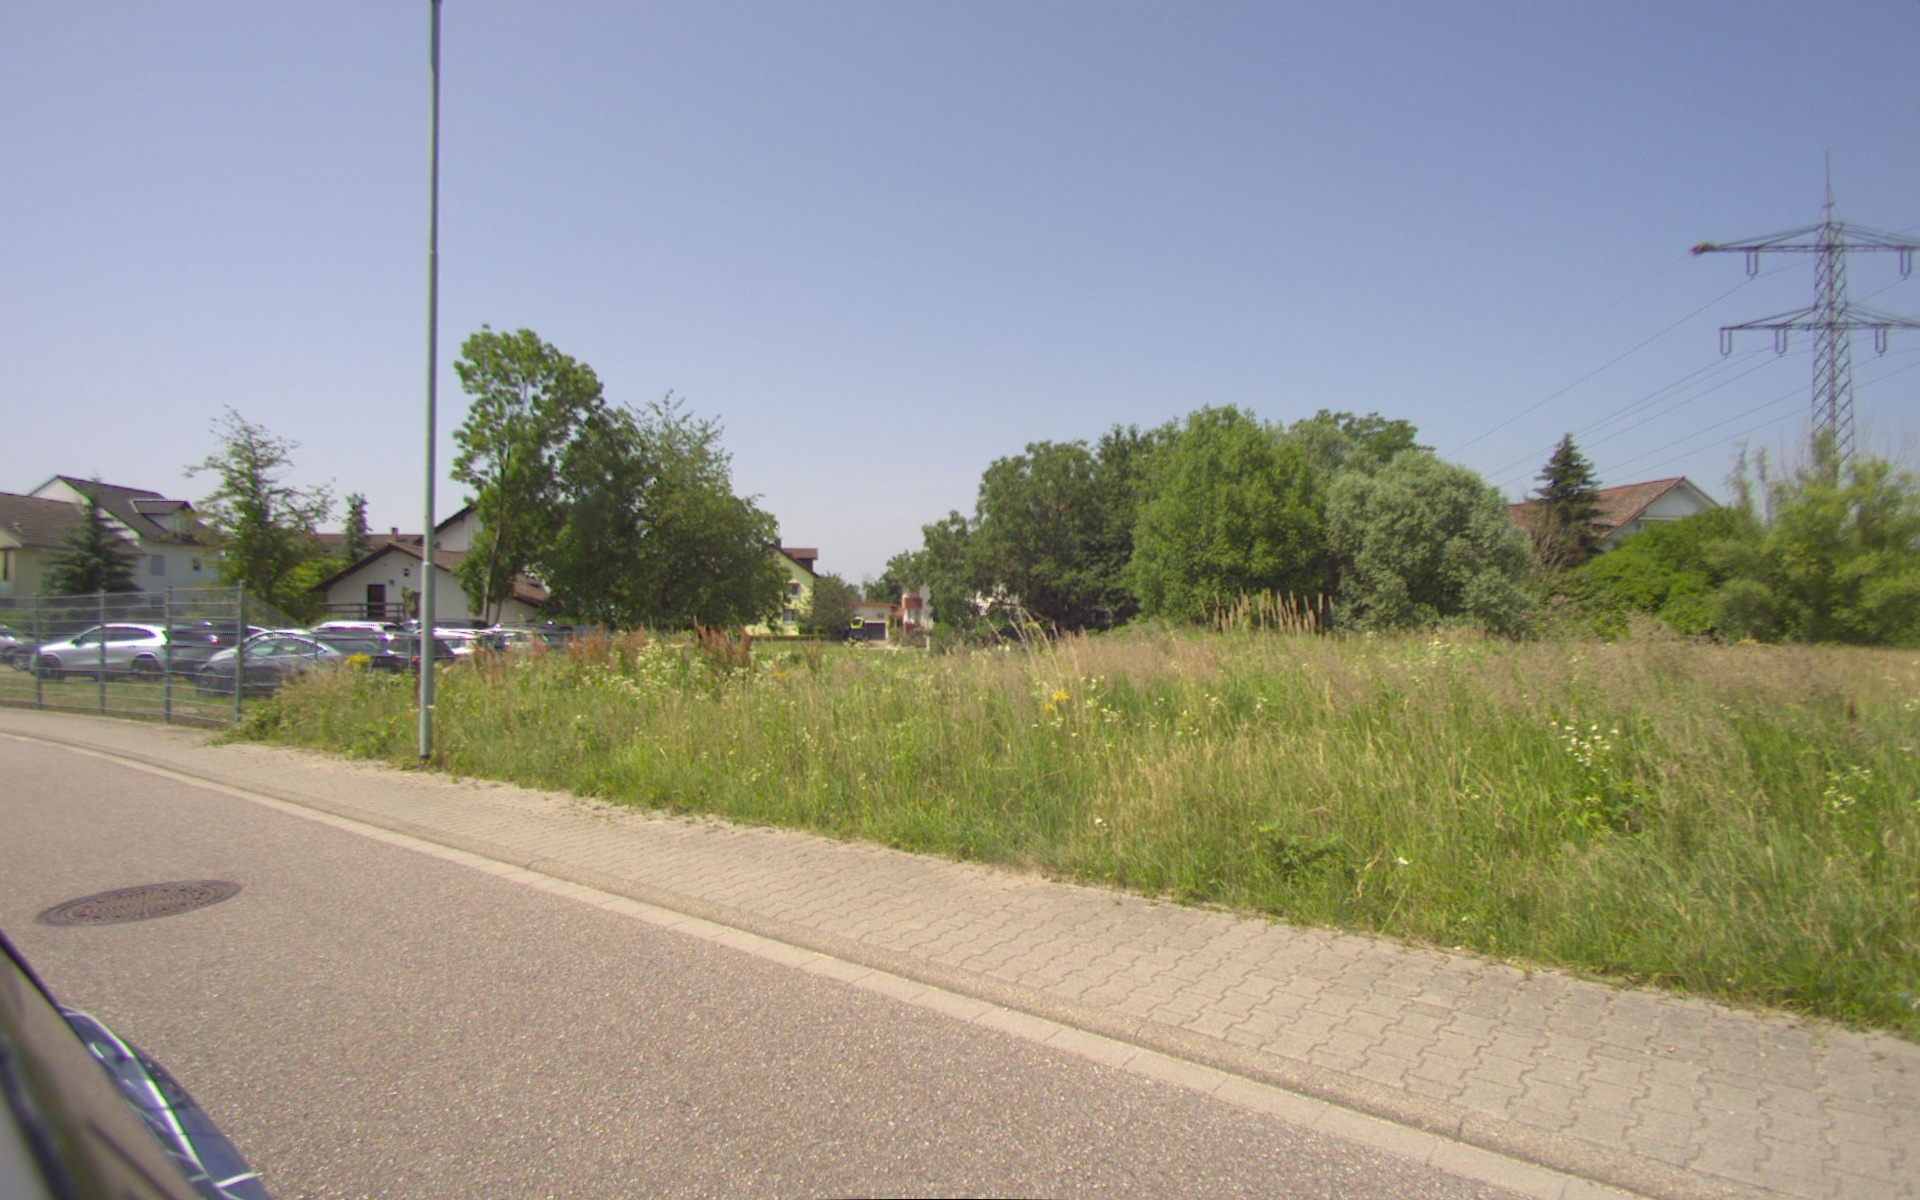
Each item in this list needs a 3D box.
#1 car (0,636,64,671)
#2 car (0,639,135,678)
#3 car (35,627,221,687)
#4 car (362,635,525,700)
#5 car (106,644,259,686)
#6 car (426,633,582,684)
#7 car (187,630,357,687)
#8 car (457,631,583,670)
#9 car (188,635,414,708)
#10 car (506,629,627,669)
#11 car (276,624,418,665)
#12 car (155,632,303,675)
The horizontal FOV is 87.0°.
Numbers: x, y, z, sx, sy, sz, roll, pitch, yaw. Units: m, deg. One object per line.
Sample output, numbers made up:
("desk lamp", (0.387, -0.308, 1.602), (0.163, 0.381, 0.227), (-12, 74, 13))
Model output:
("car", (-42.817, 2.388, 45.175), (3.941, 1.510, 1.862), (0, -2, -2))
("car", (-32.415, 2.122, 36.826), (3.361, 1.326, 1.820), (0, -1, 1))
("car", (-21.795, 1.472, 26.607), (3.595, 1.501, 1.582), (0, -2, 0))
("car", (-13.295, 1.714, 26.159), (3.413, 1.596, 1.582), (0, -2, 0))
("car", (-24.196, 2.009, 31.572), (3.595, 1.256, 1.582), (0, -2, 0))
("car", (-14.001, 1.794, 31.242), (3.944, 1.510, 2.000), (0, -2, 0))
("car", (-18.087, 1.531, 26.701), (3.413, 1.430, 1.582), (0, -2, 0))
("car", (-15.545, 1.774, 35.864), (3.694, 1.326, 1.820), (0, -1, 1))
("car", (-13.318, 1.386, 20.442), (4.372, 1.344, 1.571), (-1, -2, 21))
("car", (-15.266, 1.896, 39.414), (3.944, 1.510, 2.000), (0, -2, 0))
("car", (-19.120, 1.380, 31.649), (3.361, 1.208, 1.820), (0, -1, 1))
("car", (-26.462, 1.923, 36.748), (3.944, 1.510, 2.000), (0, -2, 0))
